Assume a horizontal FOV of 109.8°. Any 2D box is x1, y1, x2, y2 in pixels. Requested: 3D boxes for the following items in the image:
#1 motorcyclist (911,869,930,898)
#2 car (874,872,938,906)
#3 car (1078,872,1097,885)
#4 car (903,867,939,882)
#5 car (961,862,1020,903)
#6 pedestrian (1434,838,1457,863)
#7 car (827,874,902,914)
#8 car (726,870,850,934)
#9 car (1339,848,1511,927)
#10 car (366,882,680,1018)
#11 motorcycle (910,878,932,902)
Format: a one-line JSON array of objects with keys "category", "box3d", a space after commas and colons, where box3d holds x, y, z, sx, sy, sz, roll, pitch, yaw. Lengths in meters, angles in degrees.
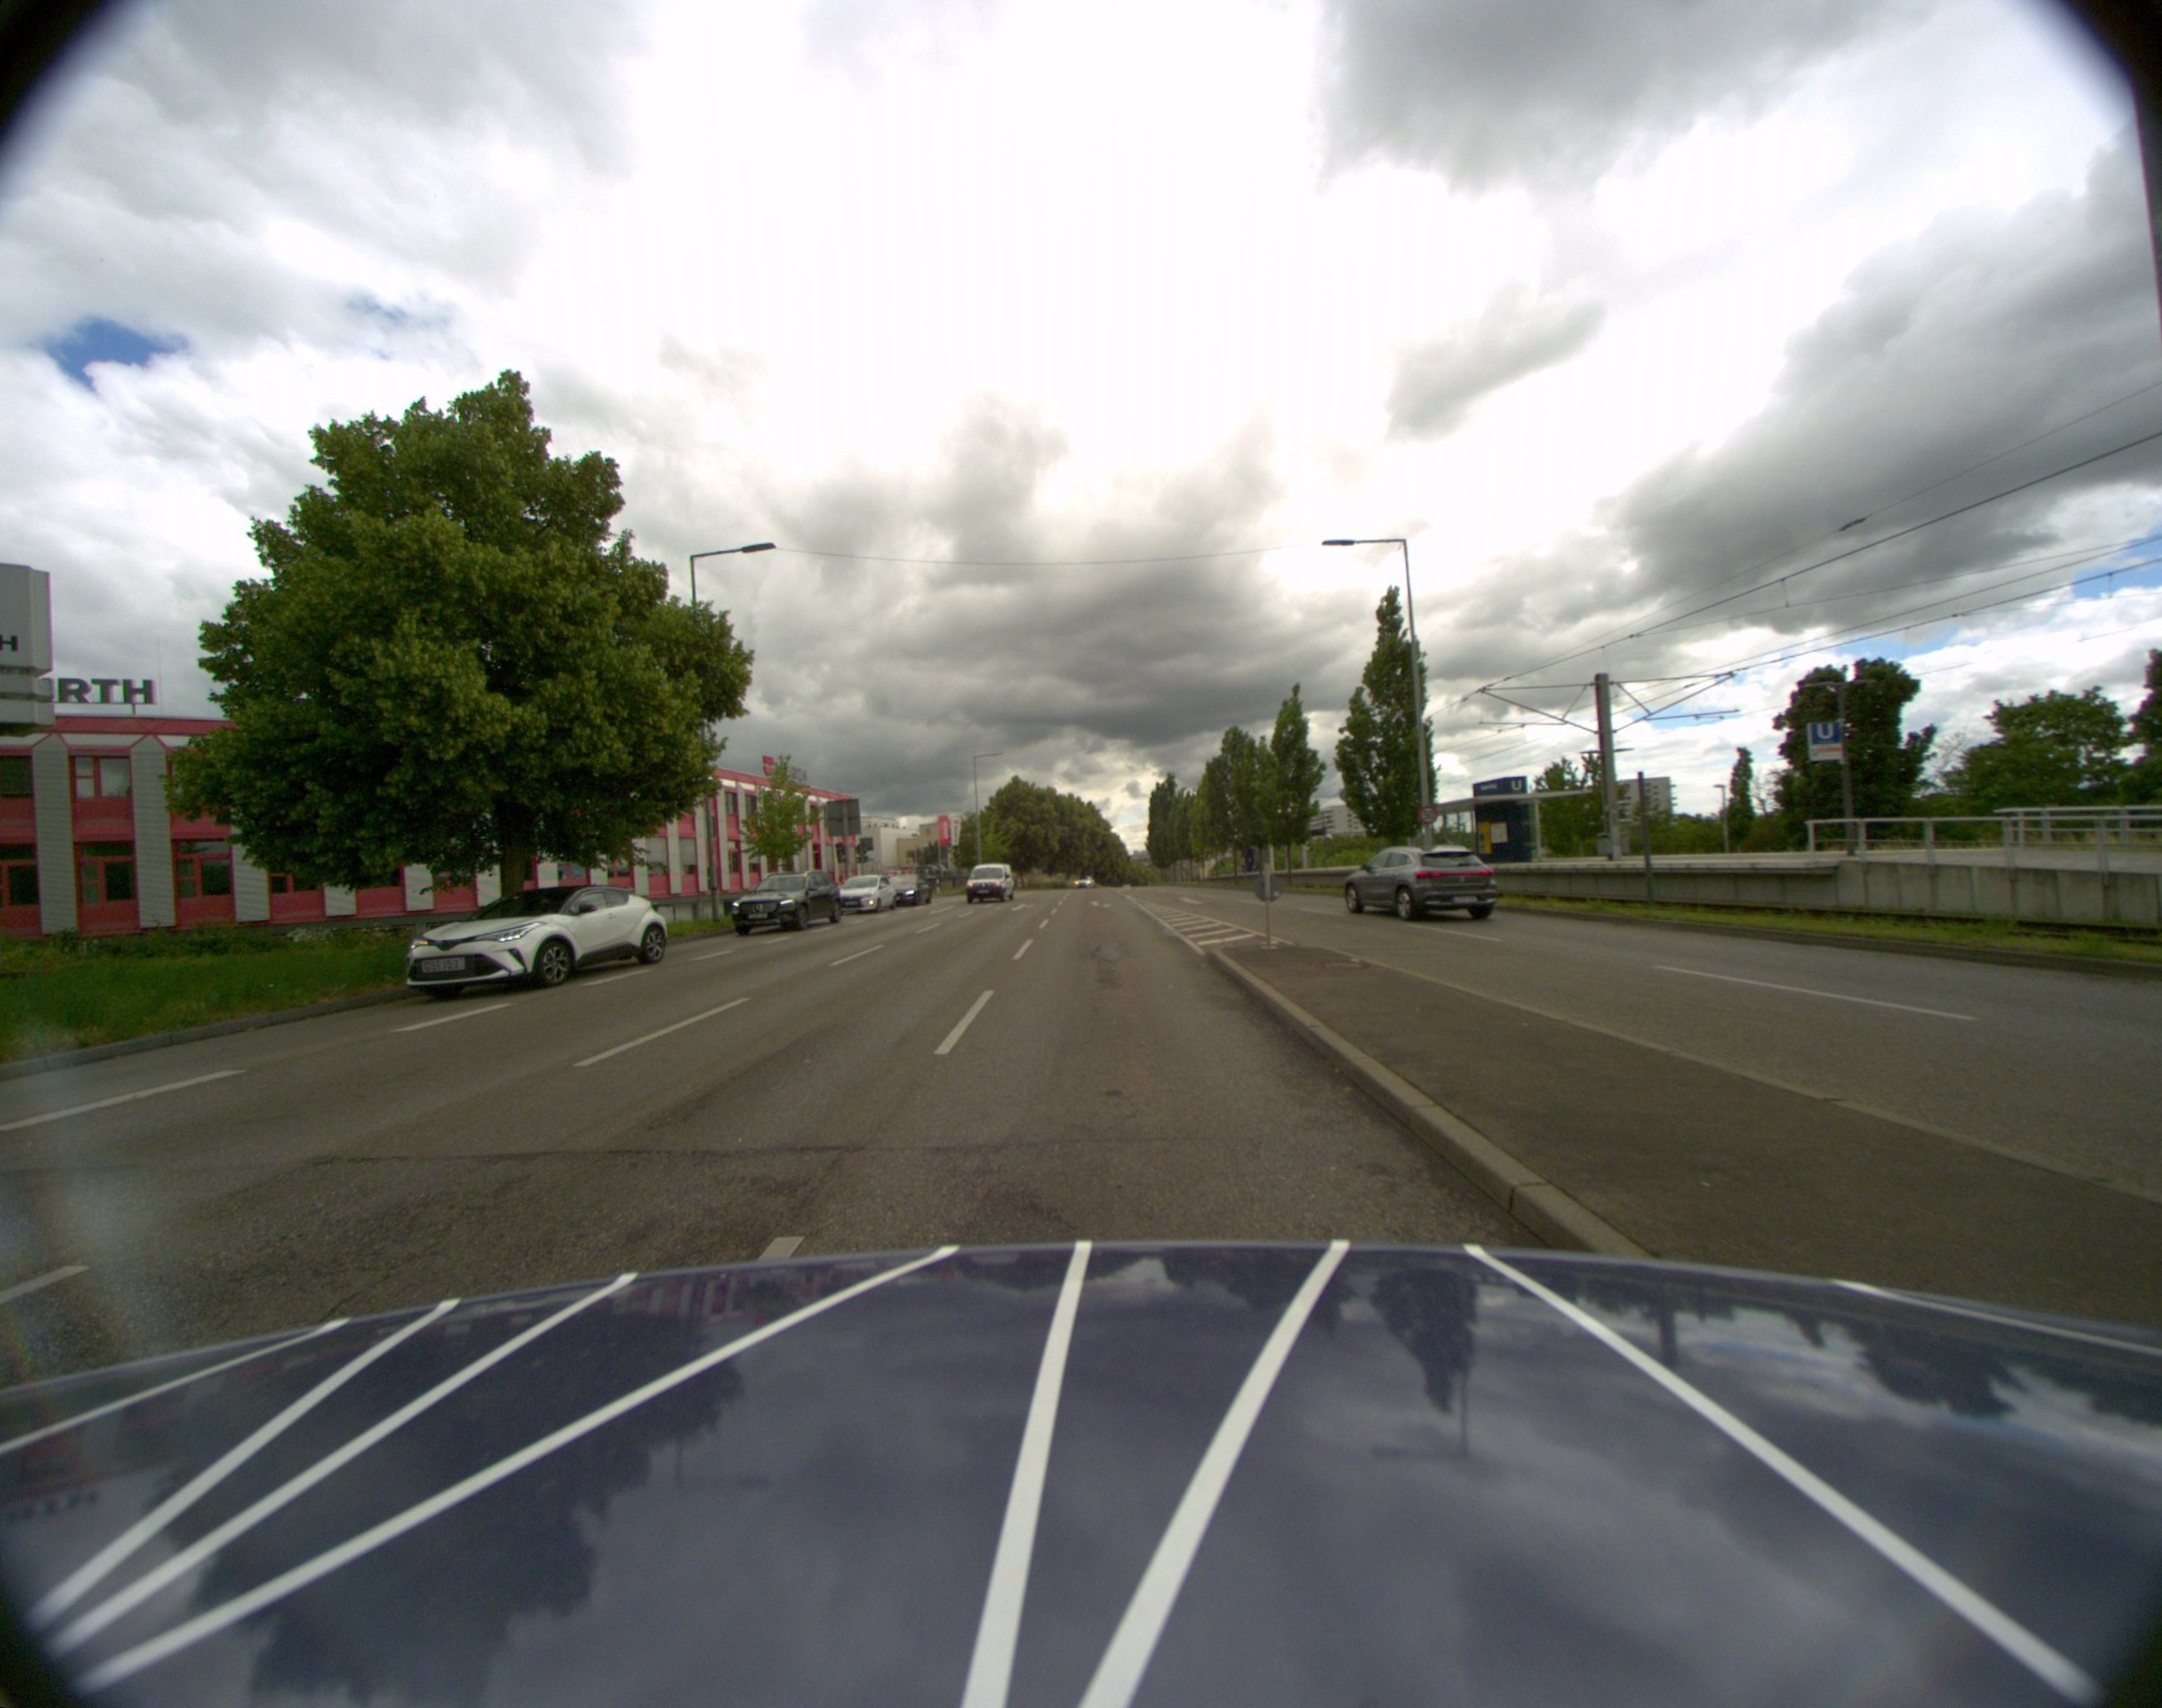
[{"category": "motorcyclist", "box3d": [-8.352, 1.522, 39.597, 0.750, 1.481, 0.933, -4, -1, -3]}, {"category": "car", "box3d": [-8.023, 1.586, 35.199, 1.785, 1.437, 4.530, -1, -2, 1]}, {"category": "car", "box3d": [0.778, 2.889, 87.468, 1.784, 1.353, 4.483, -2, -3, 5]}, {"category": "car", "box3d": [-21.218, 2.680, 100.999, 4.248, 1.744, 1.784, -2, 0, 2]}, {"category": "car", "box3d": [-4.260, 1.303, 36.609, 1.999, 1.791, 4.840, -2, 0, 2]}, {"category": "pedestrian", "box3d": [17.619, -0.176, 36.726, 0.663, 1.195, 0.782, -2, 0, -7]}, {"category": "car", "box3d": [-8.475, 1.550, 30.099, 1.785, 1.434, 3.836, -1, -2, 1]}, {"category": "car", "box3d": [-8.377, 1.322, 22.207, 1.785, 1.639, 4.427, -1, -2, 1]}, {"category": "car", "box3d": [7.661, 0.677, 17.434, 1.783, 1.537, 4.223, -2, 0, -3]}, {"category": "car", "box3d": [-8.610, 1.369, 12.331, 1.785, 1.526, 4.305, -5, 0, 0]}, {"category": "motorcycle", "box3d": [-8.325, 1.857, 39.505, 0.750, 1.140, 1.943, -4, -1, -3]}]
